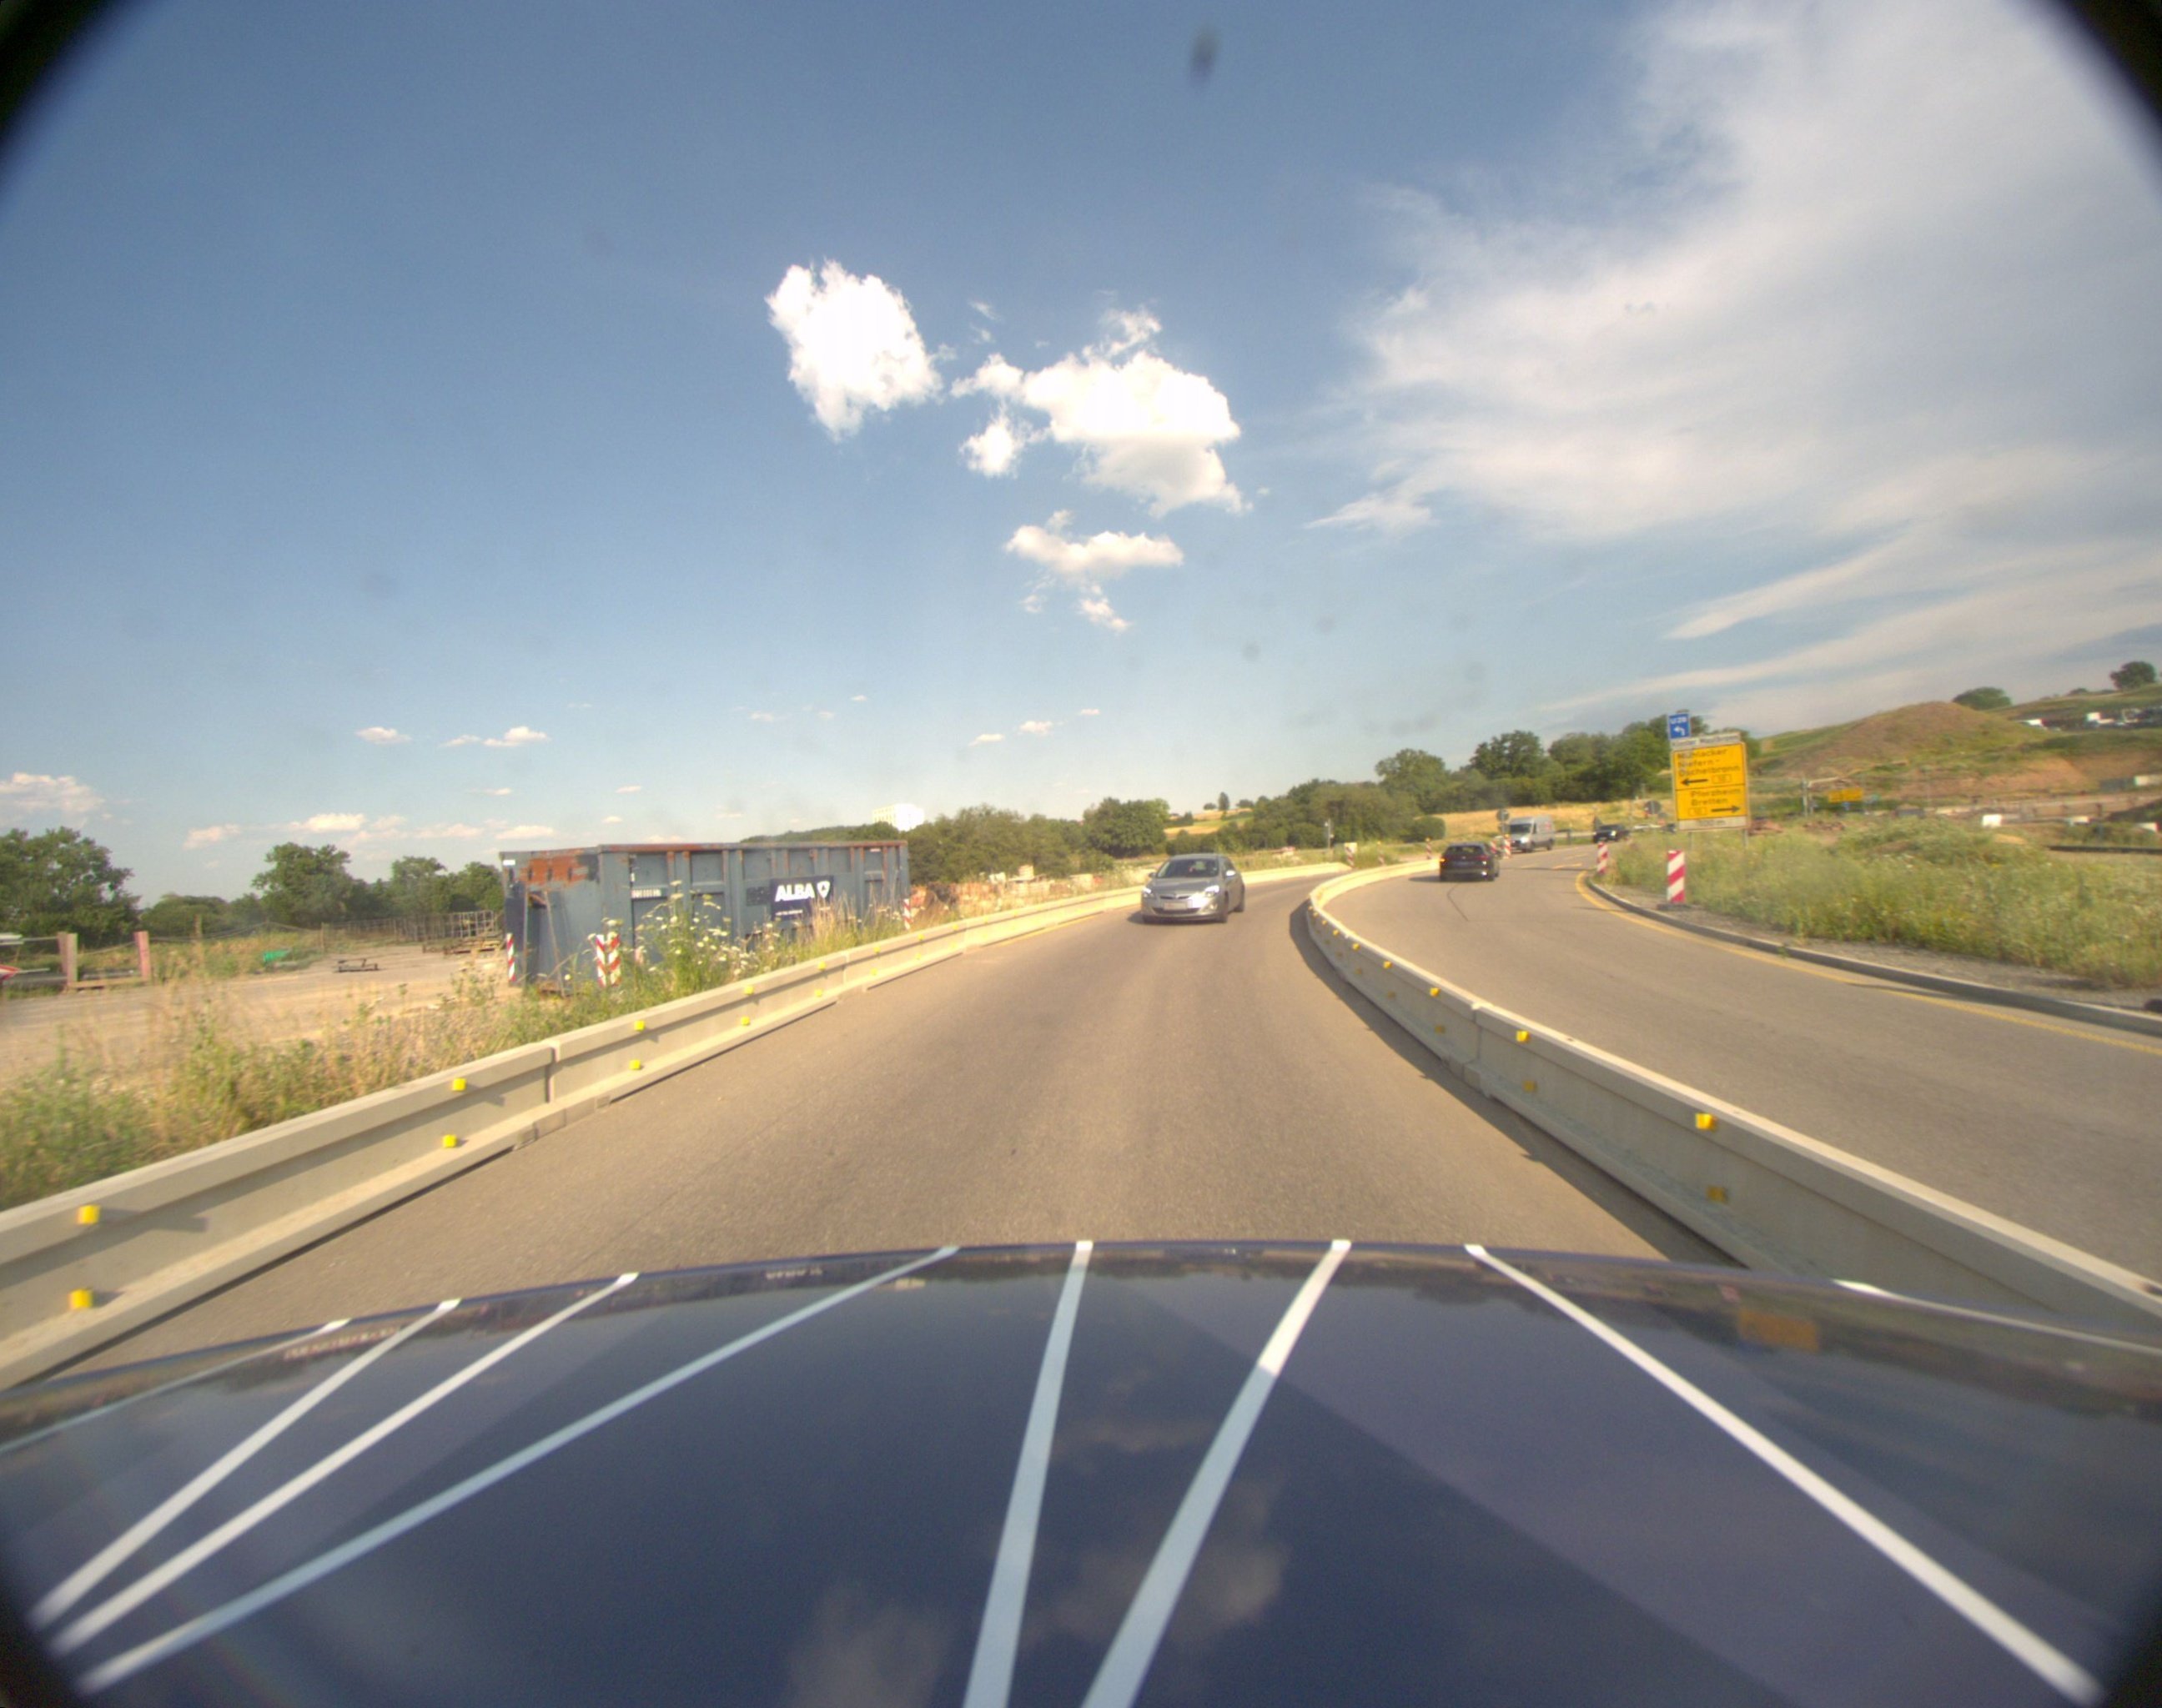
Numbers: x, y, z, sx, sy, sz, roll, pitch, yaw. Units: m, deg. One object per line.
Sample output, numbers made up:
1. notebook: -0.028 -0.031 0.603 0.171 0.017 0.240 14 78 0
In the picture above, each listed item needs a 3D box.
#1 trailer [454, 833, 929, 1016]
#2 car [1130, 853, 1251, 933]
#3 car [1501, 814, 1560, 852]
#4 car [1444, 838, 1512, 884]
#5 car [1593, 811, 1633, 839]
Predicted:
1. trailer: -6.342 0.941 13.959 3.007 2.400 7.239 -4 0 26
2. car: 2.625 0.804 17.239 1.745 1.476 4.258 -3 0 21
3. car: 32.540 -1.556 54.940 5.808 2.486 1.912 -4 1 -42
4. car: 15.024 0.213 28.637 1.711 1.510 4.523 -1 1 34
5. car: 48.607 -2.651 69.410 4.007 2.389 1.872 -4 1 -38
